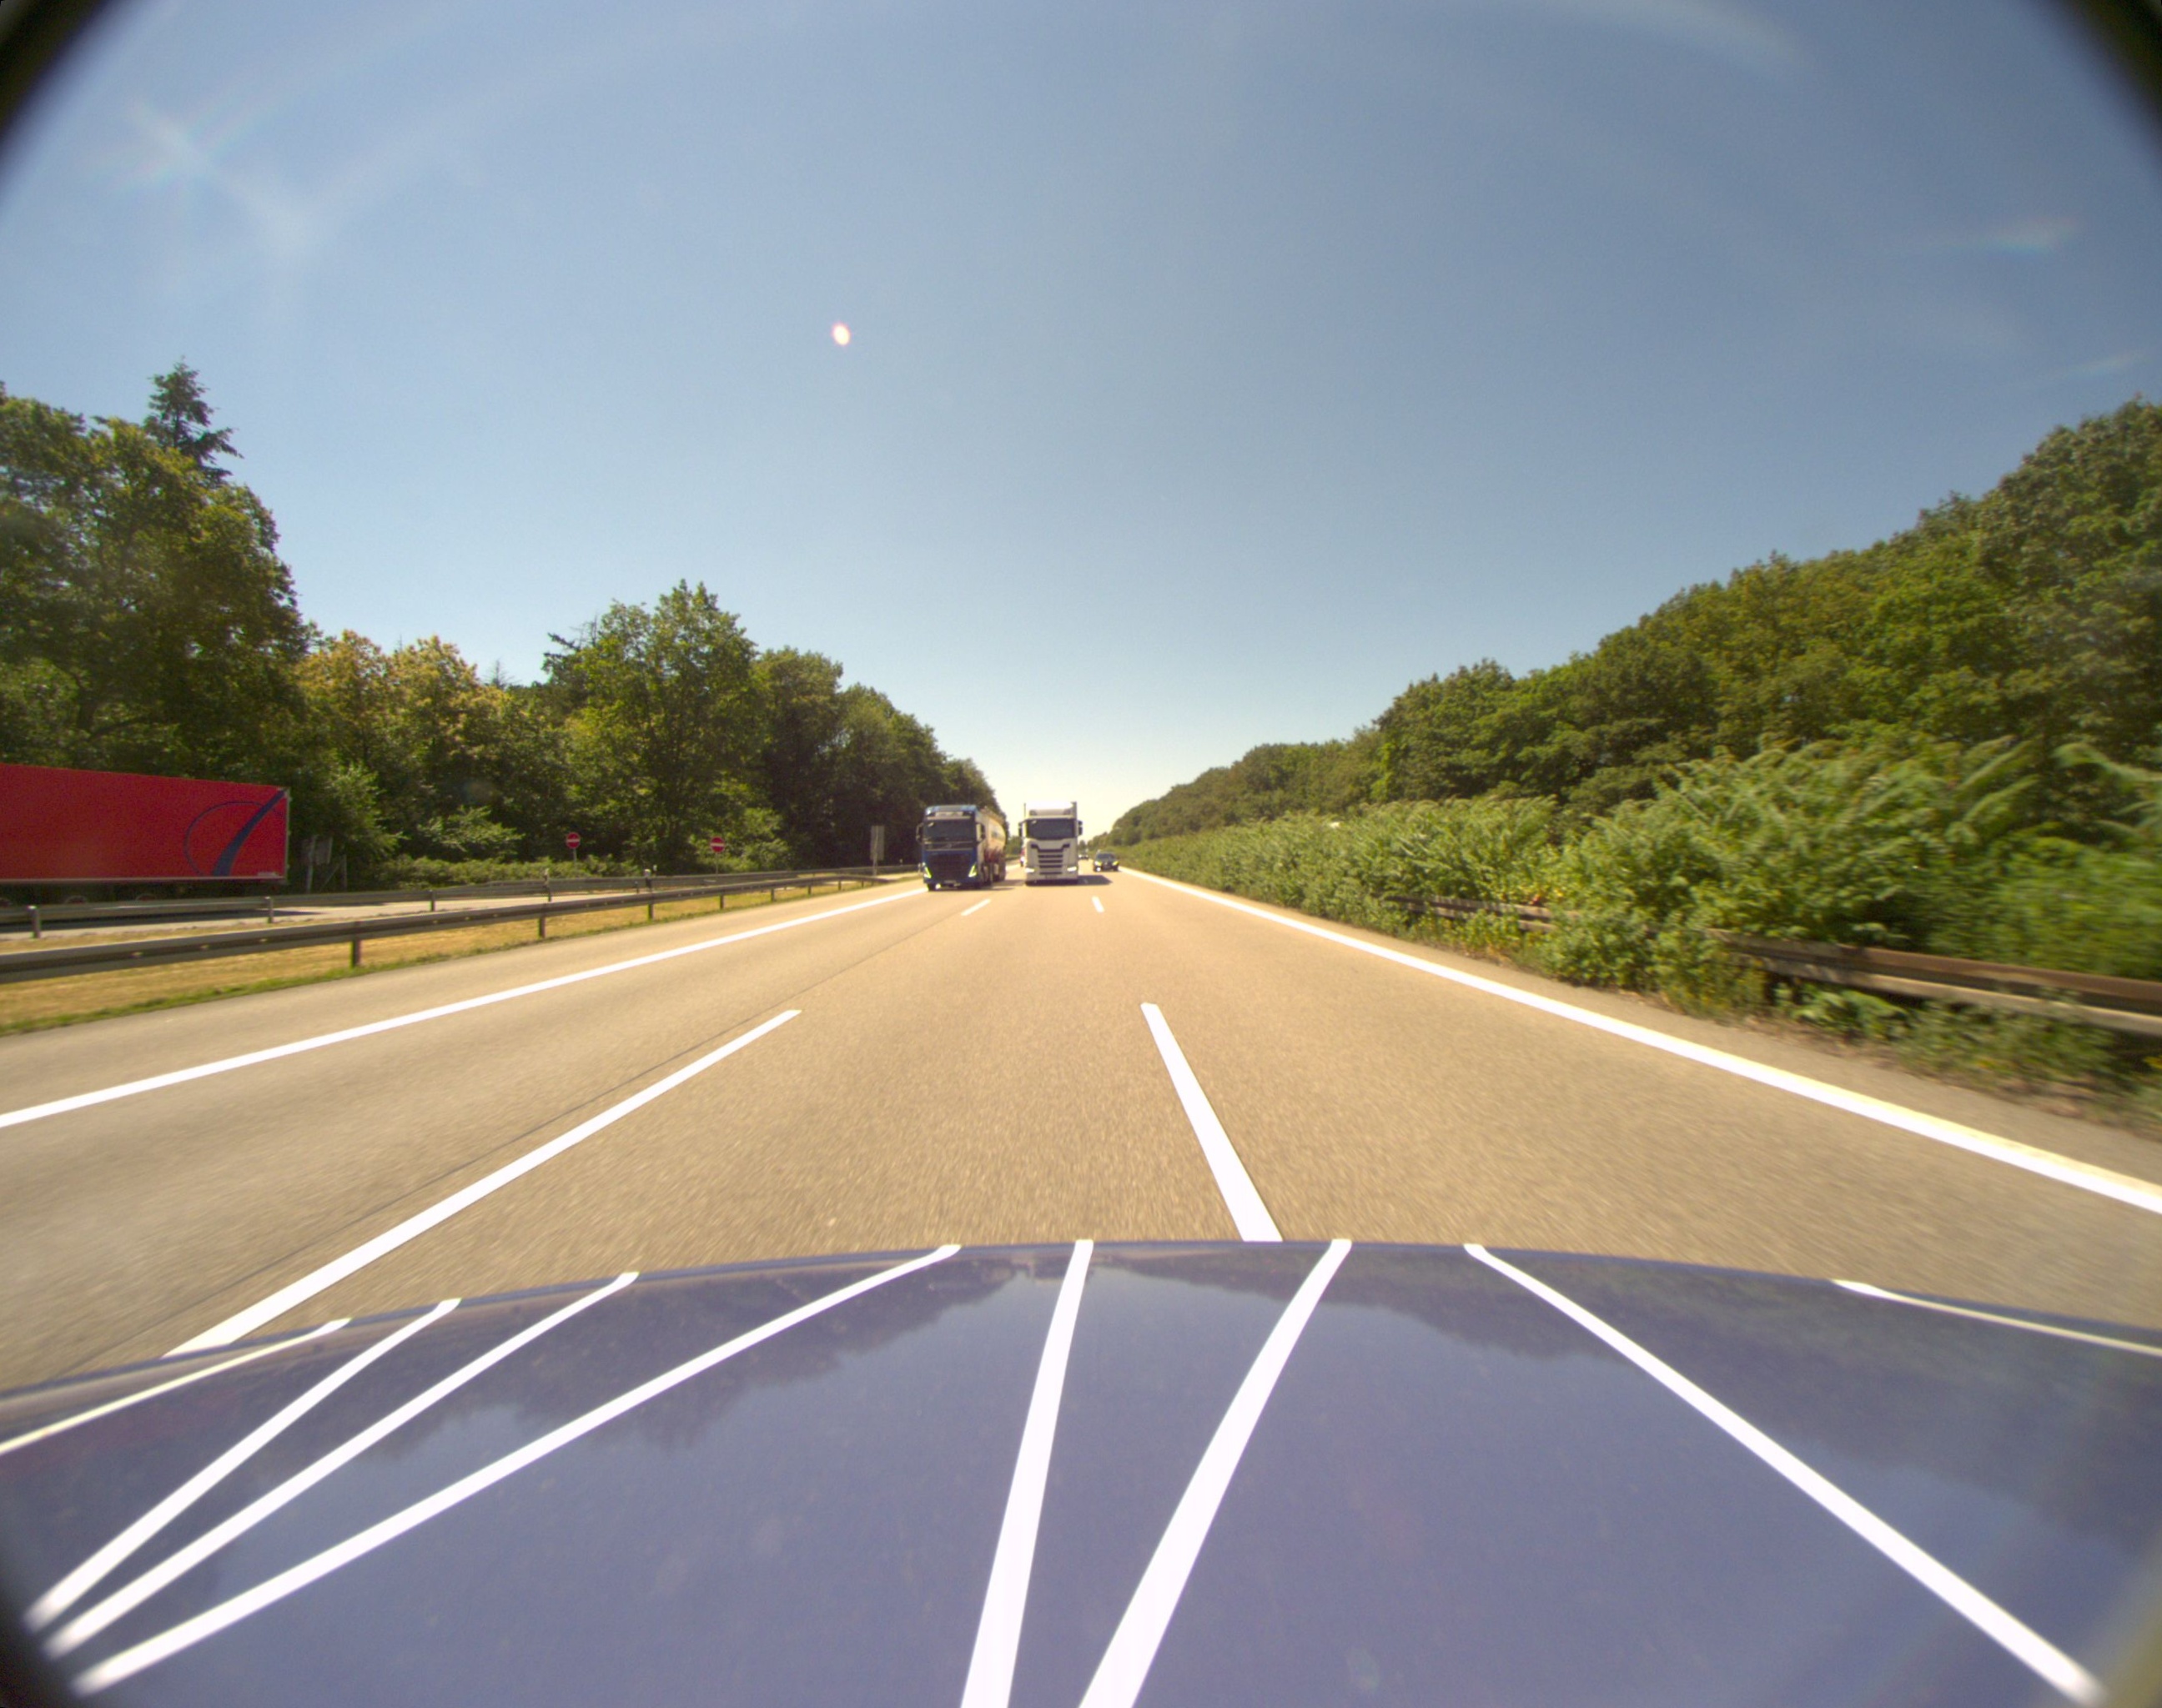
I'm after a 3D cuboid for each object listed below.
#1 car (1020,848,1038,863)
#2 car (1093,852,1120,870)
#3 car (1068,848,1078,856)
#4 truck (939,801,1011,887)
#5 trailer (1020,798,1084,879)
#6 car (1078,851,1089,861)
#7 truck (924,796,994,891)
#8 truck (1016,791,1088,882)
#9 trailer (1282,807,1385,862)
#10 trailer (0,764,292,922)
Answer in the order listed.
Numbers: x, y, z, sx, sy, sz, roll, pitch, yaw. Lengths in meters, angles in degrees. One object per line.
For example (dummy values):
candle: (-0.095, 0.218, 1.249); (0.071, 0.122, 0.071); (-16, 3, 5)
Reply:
car: (-6.164, 0.172, 90.635); (1.715, 1.669, 4.000); (-2, 0, 1)
car: (1.911, 0.521, 57.871); (1.887, 1.341, 4.467); (-1, 0, -1)
car: (-2.012, -0.479, 187.831); (1.999, 2.002, 3.998); (-1, 0, -5)
truck: (-5.481, -0.518, 41.114); (2.449, 4.020, 10.539); (-1, 1, -1)
trailer: (-1.688, -0.788, 44.871); (3.232, 4.119, 12.348); (-1, 0, -2)
car: (0.491, 0.330, 136.661); (1.887, 1.634, 3.999); (-1, 0, -1)
truck: (-5.422, -0.464, 34.355); (2.455, 4.015, 4.070); (-1, 1, -1)
truck: (-1.407, -0.793, 37.065); (3.237, 4.133, 4.558); (-1, 0, -2)
trailer: (18.542, -1.338, 57.146); (2.971, 3.549, 13.430); (-1, 1, -1)
trailer: (-27.942, -0.254, 18.193); (2.984, 3.855, 12.898); (0, 1, 11)
